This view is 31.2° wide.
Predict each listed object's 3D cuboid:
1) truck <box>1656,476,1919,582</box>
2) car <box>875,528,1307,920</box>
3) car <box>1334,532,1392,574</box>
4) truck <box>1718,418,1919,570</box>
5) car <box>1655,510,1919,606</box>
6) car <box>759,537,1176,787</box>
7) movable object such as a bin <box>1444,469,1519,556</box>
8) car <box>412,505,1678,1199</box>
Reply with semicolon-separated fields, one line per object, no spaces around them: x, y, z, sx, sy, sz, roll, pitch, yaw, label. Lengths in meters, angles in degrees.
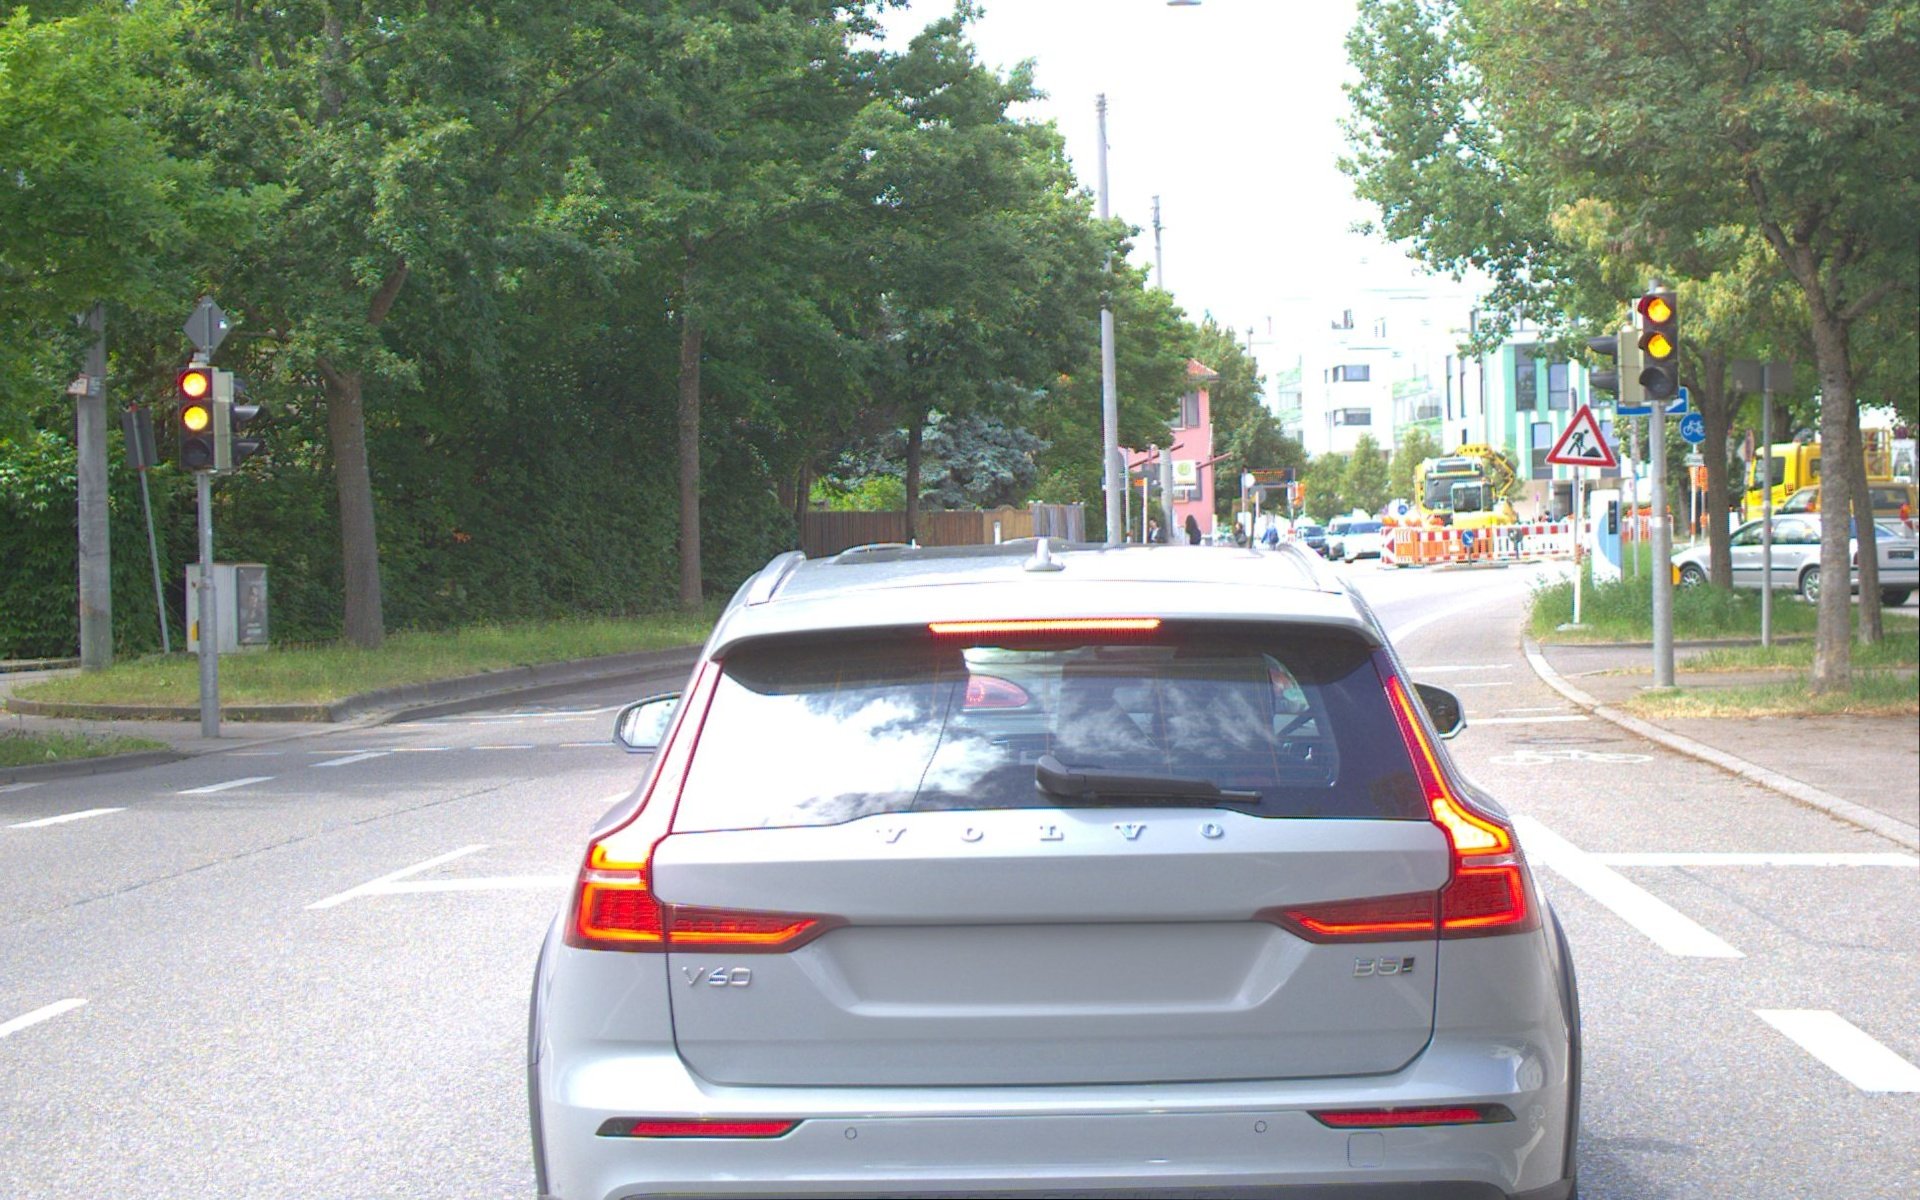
16.830;-1.412;68.969;1.994;2.007;5.676;1;0;-37;truck
0.589;0.474;15.388;1.661;1.503;3.702;1;0;2;car
14.221;-1.650;121.239;1.829;1.325;3.998;1;-1;9;car
19.092;-2.127;70.728;2.761;2.998;6.706;1;0;-34;truck
13.284;-0.685;54.305;1.762;1.447;4.689;-1;2;-32;car
0.158;0.365;22.881;2.103;1.505;3.998;0;0;10;car
16.601;-2.775;109.190;2.035;2.634;5.937;-2;1;11;movable object such as a bin
0.160;0.607;7.242;1.928;1.535;4.000;0;0;1;car
